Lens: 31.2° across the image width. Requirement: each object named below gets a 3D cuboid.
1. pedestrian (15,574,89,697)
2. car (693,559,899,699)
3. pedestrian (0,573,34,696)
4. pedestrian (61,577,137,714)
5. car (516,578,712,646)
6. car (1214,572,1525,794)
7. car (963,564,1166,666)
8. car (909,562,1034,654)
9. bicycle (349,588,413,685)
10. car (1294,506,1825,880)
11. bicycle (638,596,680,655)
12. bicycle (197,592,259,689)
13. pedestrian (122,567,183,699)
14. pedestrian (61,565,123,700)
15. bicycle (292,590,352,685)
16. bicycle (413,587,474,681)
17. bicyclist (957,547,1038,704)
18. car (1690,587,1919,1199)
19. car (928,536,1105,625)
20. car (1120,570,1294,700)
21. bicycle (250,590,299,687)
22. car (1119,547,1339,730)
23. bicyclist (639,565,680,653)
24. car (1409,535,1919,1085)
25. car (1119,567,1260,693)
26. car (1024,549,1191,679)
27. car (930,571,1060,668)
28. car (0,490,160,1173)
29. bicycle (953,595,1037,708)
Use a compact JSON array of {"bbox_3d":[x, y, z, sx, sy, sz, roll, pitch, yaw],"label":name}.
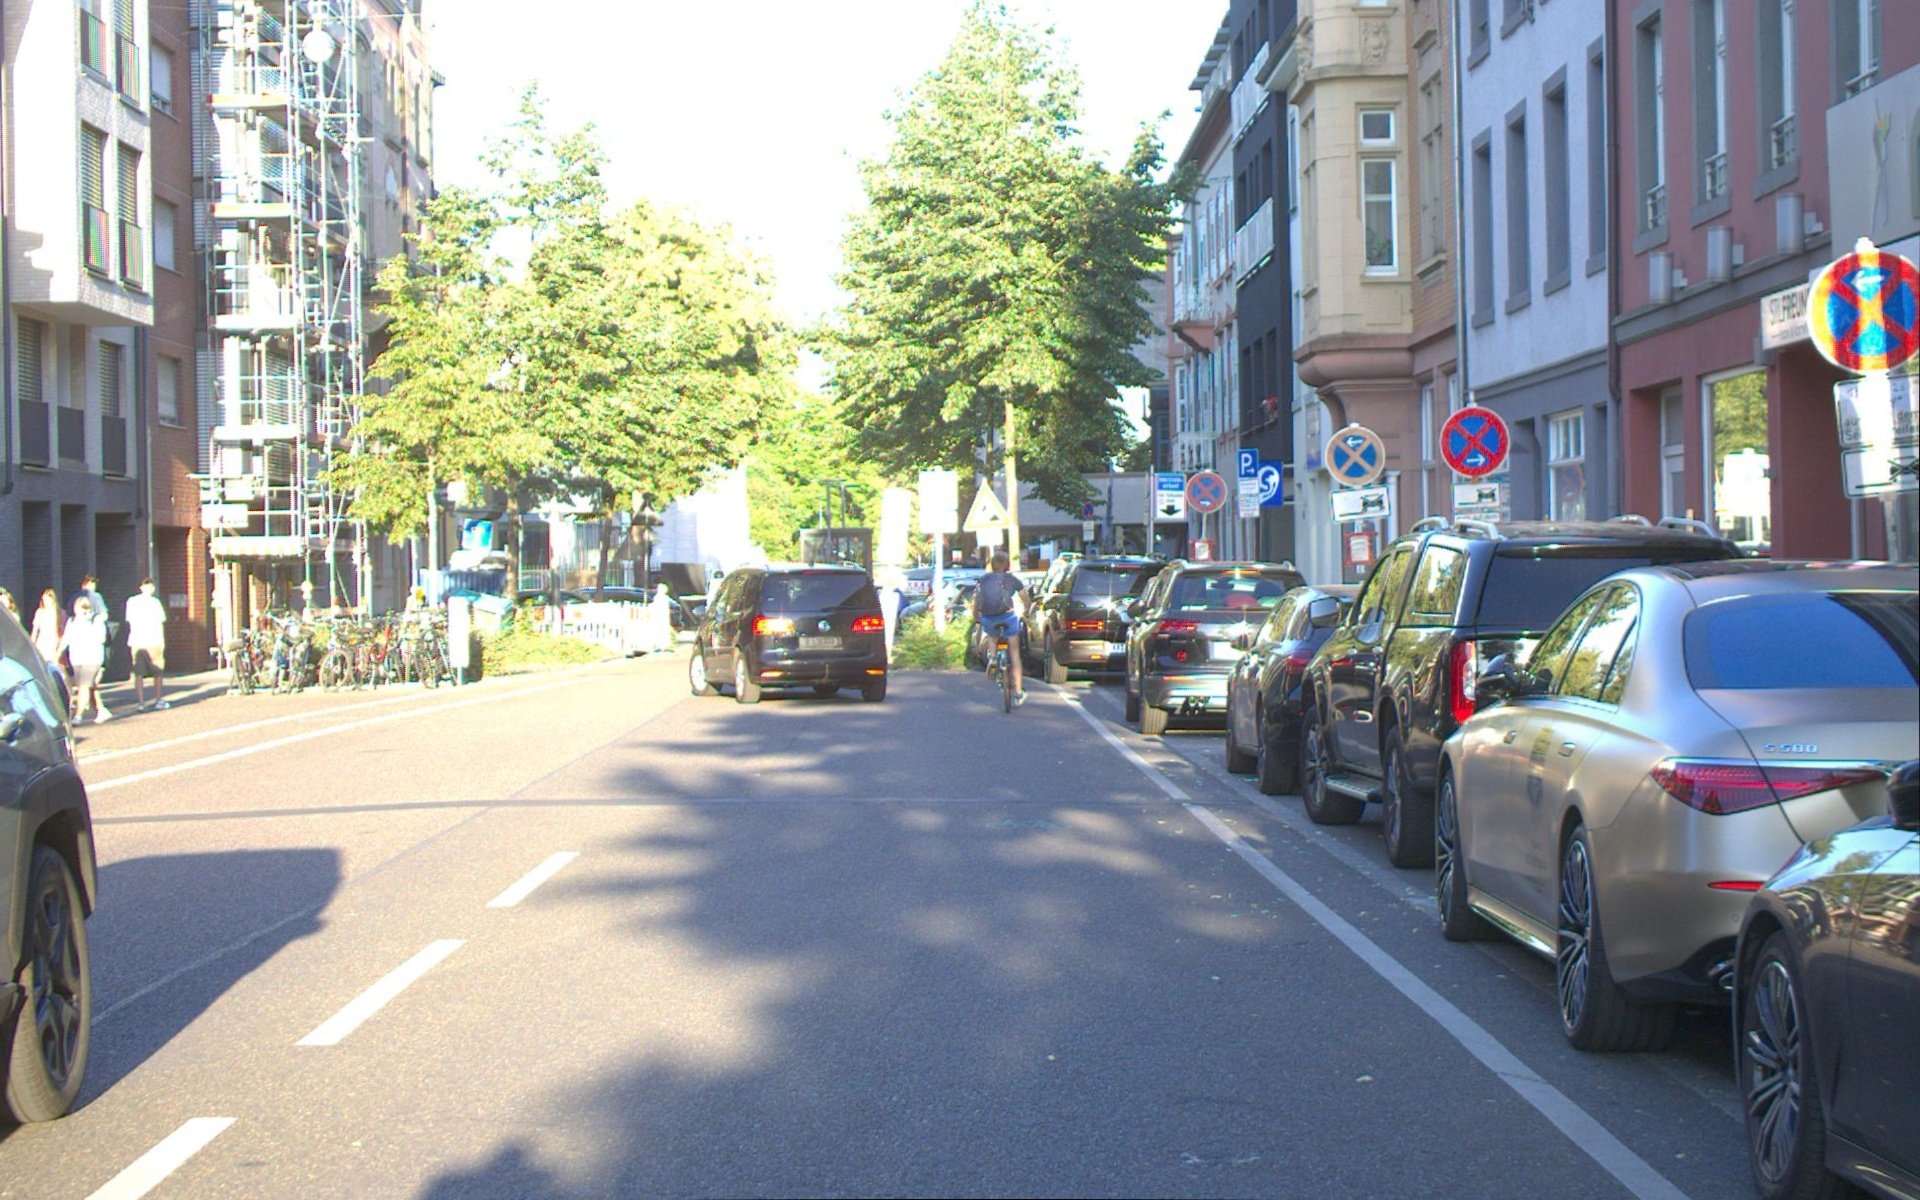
[{"bbox_3d":[-12.182,0.476,46.160,0.717,1.636,0.855,0,0,4],"label":"pedestrian"},{"bbox_3d":[-2.043,0.330,41.577,1.993,1.596,4.510,0,0,-9],"label":"car"},{"bbox_3d":[-12.987,0.462,46.340,0.717,1.636,0.855,0,0,4],"label":"pedestrian"},{"bbox_3d":[-10.434,0.548,41.687,0.716,1.636,0.952,0,0,-3],"label":"pedestrian"},{"bbox_3d":[-7.607,0.260,75.914,4.103,1.461,1.889,0,0,1],"label":"car"},{"bbox_3d":[2.906,0.555,25.209,1.762,1.478,4.307,0,0,0],"label":"car"},{"bbox_3d":[1.580,0.230,52.731,2.968,1.531,1.433,0,0,-4],"label":"car"},{"bbox_3d":[0.204,0.167,74.600,2.265,1.760,4.510,5,0,-4],"label":"car"},{"bbox_3d":[-8.642,0.527,51.376,0.892,1.391,3.167,-1,0,-9],"label":"bicycle"},{"bbox_3d":[3.064,0.439,18.691,1.883,1.748,5.059,0,0,-1],"label":"car"},{"bbox_3d":[-6.371,0.532,72.794,0.780,1.200,2.021,-2,0,-3],"label":"bicycle"},{"bbox_3d":[-10.851,0.587,51.007,0.721,1.391,3.154,0,0,-9],"label":"bicycle"},{"bbox_3d":[-10.714,0.429,45.633,0.716,1.734,0.739,0,0,-8],"label":"pedestrian"},{"bbox_3d":[-11.452,0.423,45.376,0.716,1.761,0.694,0,0,-8],"label":"pedestrian"},{"bbox_3d":[-9.490,0.538,51.236,0.780,1.368,3.143,0,0,-9],"label":"bicycle"},{"bbox_3d":[-7.754,0.488,51.514,0.844,1.346,3.188,-1,0,-9],"label":"bicycle"},{"bbox_3d":[0.408,0.275,38.084,0.780,1.690,1.007,-2,0,-3],"label":"bicyclist"},{"bbox_3d":[2.707,0.718,6.128,1.752,1.415,4.510,0,1,-1],"label":"car"},{"bbox_3d":[1.338,-0.460,80.213,3.987,2.007,2.000,-1,1,4],"label":"car"},{"bbox_3d":[2.715,0.377,38.495,1.666,1.373,3.802,0,0,0],"label":"car"},{"bbox_3d":[-10.182,0.550,51.115,0.584,1.391,3.162,0,0,-9],"label":"bicycle"},{"bbox_3d":[2.560,0.350,33.569,1.812,1.662,4.206,0,0,0],"label":"car"},{"bbox_3d":[-6.354,0.192,72.802,0.780,1.823,1.007,-2,0,-3],"label":"bicyclist"},{"bbox_3d":[2.752,0.585,12.034,1.812,1.522,4.993,0,0,1],"label":"car"},{"bbox_3d":[2.805,0.356,42.443,1.587,1.478,3.266,0,0,1],"label":"car"},{"bbox_3d":[1.964,0.187,46.993,1.824,1.689,4.369,0,0,-3],"label":"car"},{"bbox_3d":[0.585,0.329,61.590,1.993,1.662,4.510,0,0,-3],"label":"car"},{"bbox_3d":[-3.273,0.580,7.723,1.940,1.639,4.739,-2,0,-2],"label":"car"},{"bbox_3d":[0.378,0.556,38.079,0.780,1.200,2.021,-2,0,-3],"label":"bicycle"}]
